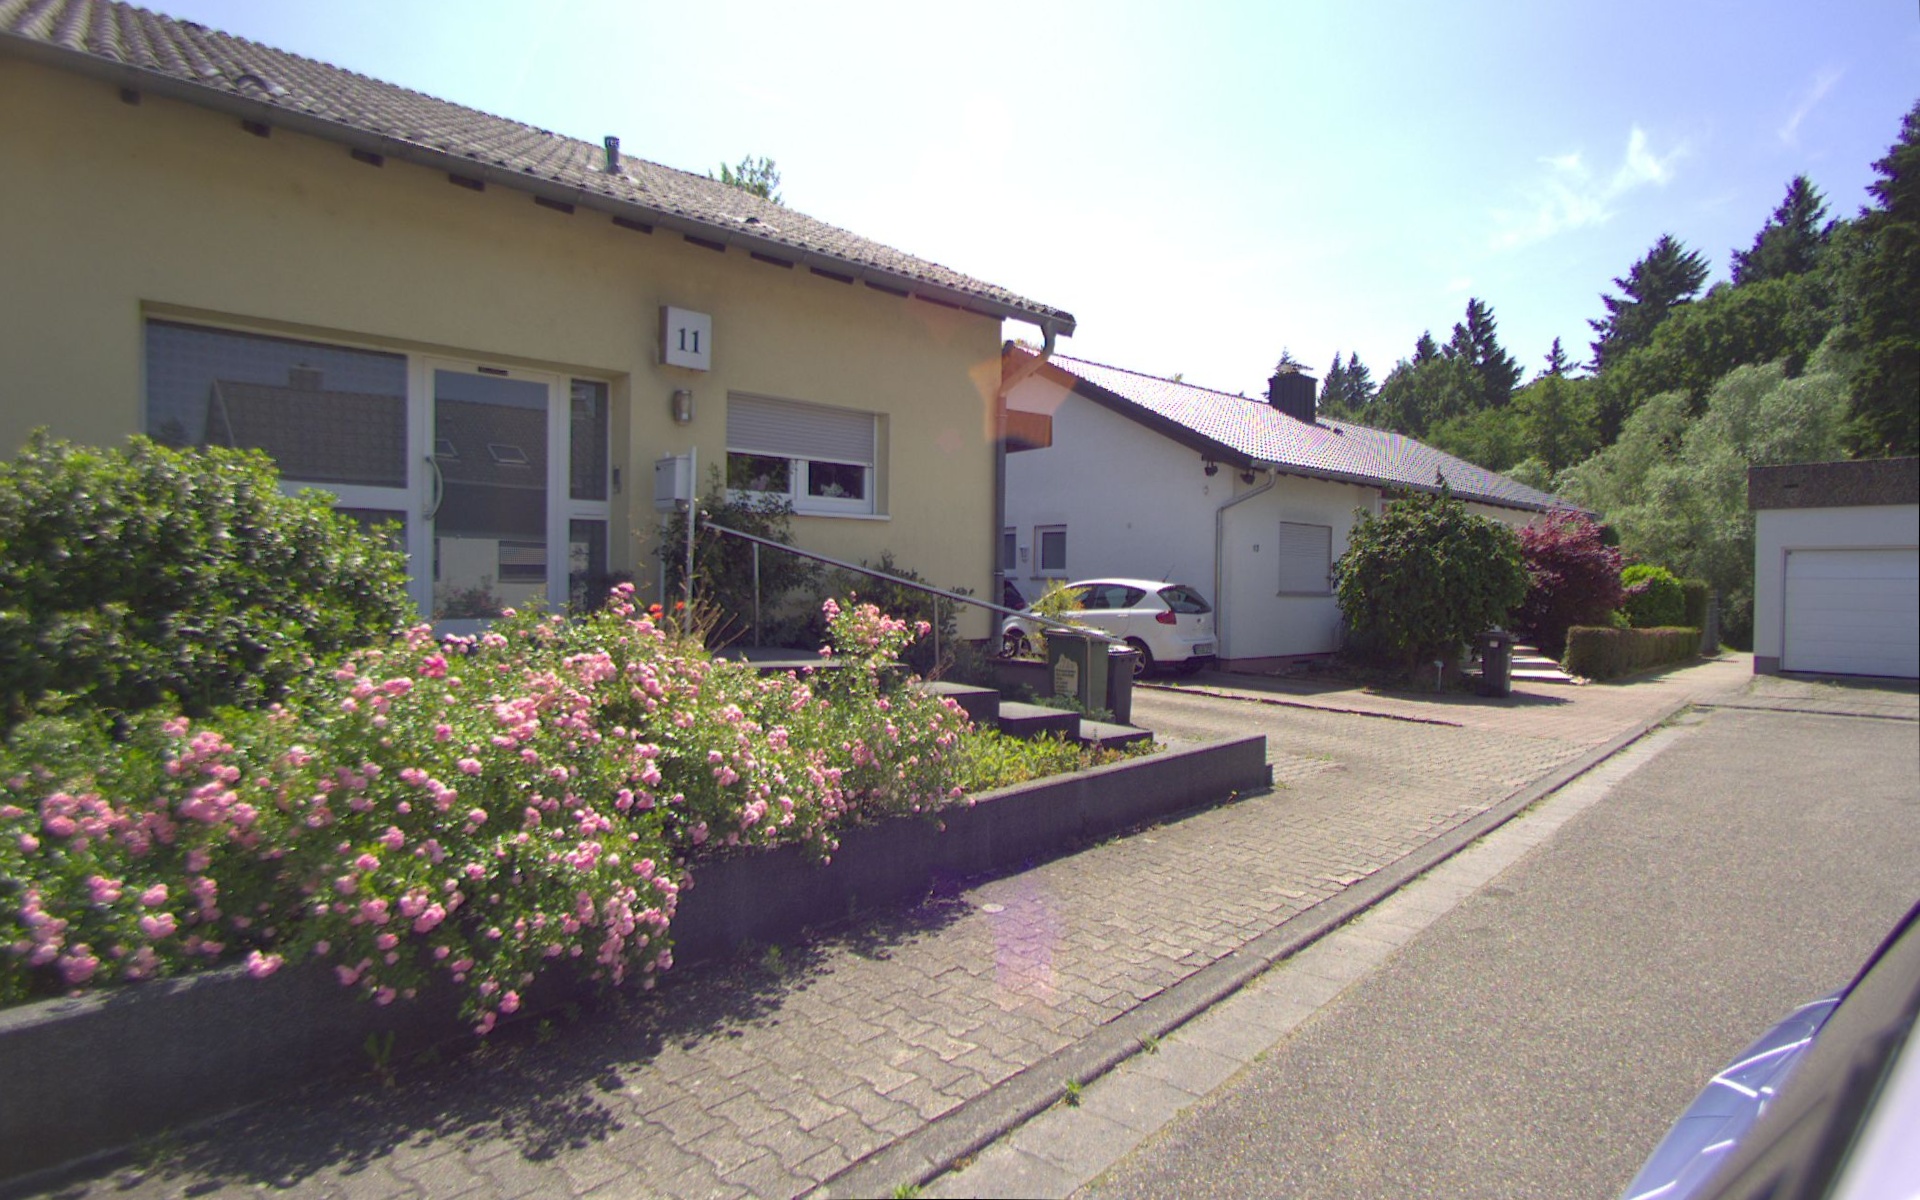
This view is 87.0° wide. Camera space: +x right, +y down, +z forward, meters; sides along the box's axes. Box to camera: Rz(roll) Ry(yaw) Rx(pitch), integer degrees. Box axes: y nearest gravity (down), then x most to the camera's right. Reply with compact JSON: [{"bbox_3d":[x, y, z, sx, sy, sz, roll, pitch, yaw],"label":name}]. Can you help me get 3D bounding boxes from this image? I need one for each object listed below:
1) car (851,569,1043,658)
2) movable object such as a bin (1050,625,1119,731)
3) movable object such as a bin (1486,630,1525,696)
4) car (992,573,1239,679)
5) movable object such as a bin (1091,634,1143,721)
[{"bbox_3d":[-0.357,0.199,21.031,1.895,1.627,3.995,-1,2,-40],"label":"car"},{"bbox_3d":[1.334,0.814,10.853,0.490,1.054,0.584,1,1,42],"label":"movable object such as a bin"},{"bbox_3d":[7.829,0.895,14.520,0.369,0.902,0.390,-1,1,-42],"label":"movable object such as a bin"},{"bbox_3d":[2.581,0.354,17.441,1.723,1.588,3.991,0,1,-44],"label":"car"},{"bbox_3d":[1.736,0.845,11.184,0.425,0.902,0.401,1,1,42],"label":"movable object such as a bin"}]
